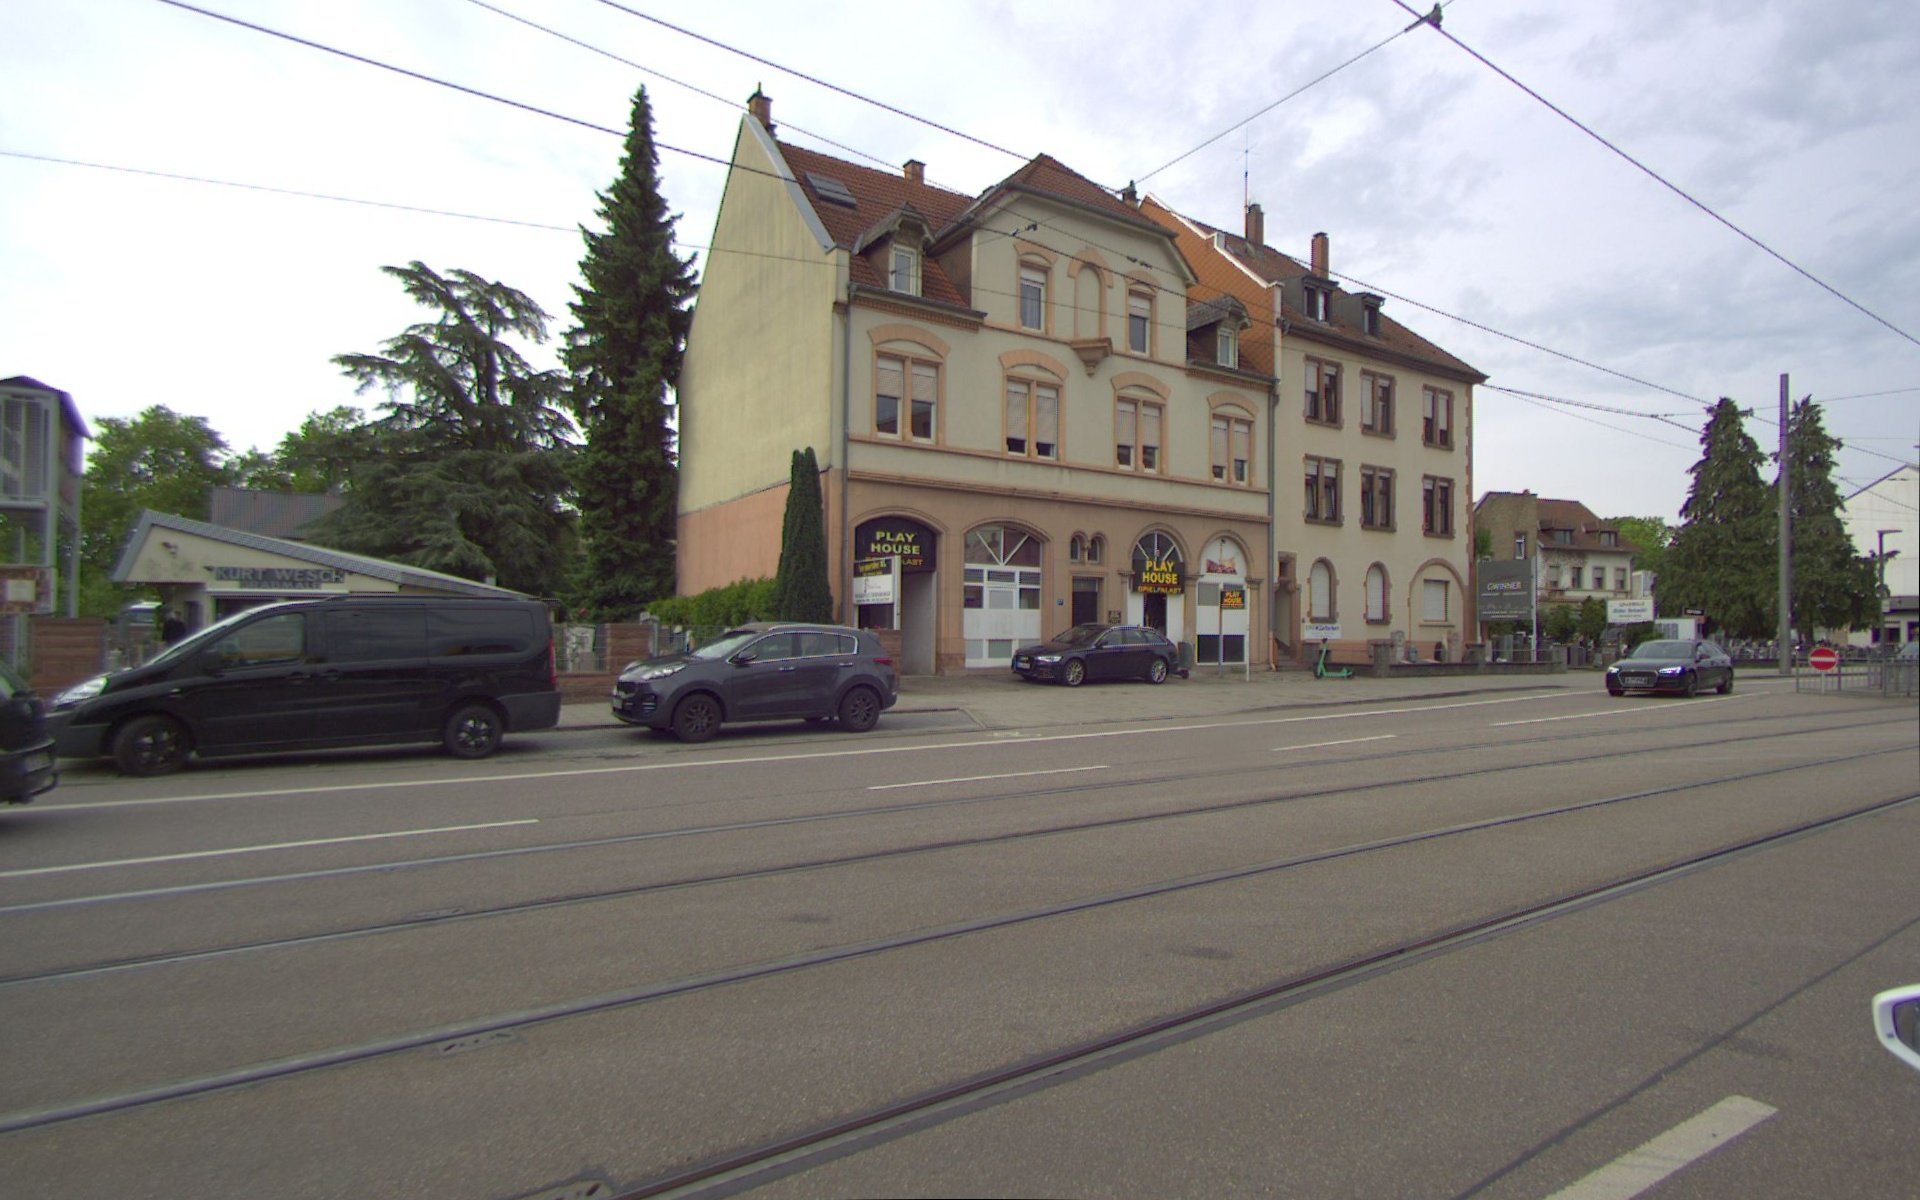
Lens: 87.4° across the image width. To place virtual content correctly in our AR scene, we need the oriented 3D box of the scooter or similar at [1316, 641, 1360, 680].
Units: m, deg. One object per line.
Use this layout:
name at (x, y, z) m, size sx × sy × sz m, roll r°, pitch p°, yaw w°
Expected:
scooter or similar at (11.303, 1.807, 30.054) m, size 1.156 × 1.116 × 0.527 m, roll 1°, pitch -1°, yaw 28°

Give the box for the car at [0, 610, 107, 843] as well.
car at (-8.494, 0.848, 6.563) m, size 4.090 × 1.550 × 1.783 m, roll 2°, pitch -4°, yaw -28°

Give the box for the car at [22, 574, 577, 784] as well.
car at (-7.524, 0.836, 12.037) m, size 5.133 × 2.040 × 1.973 m, roll 2°, pitch -1°, yaw -35°

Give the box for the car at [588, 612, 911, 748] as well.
car at (-3.187, 1.113, 15.622) m, size 4.492 × 1.773 × 2.022 m, roll 1°, pitch 0°, yaw -37°

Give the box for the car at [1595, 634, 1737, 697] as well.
car at (18.492, 1.679, 26.218) m, size 4.781 × 1.492 × 1.889 m, roll 2°, pitch -4°, yaw -40°

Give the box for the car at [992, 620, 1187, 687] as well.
car at (3.372, 1.345, 25.689) m, size 4.852 × 1.512 × 1.981 m, roll 2°, pitch 0°, yaw -34°

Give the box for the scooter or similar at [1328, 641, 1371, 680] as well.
scooter or similar at (11.878, 1.834, 30.661) m, size 1.156 × 1.116 × 0.527 m, roll 1°, pitch -1°, yaw 28°

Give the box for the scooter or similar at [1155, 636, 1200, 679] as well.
scooter or similar at (6.097, 1.609, 28.178) m, size 0.523 × 1.116 × 1.165 m, roll 2°, pitch 0°, yaw -37°
